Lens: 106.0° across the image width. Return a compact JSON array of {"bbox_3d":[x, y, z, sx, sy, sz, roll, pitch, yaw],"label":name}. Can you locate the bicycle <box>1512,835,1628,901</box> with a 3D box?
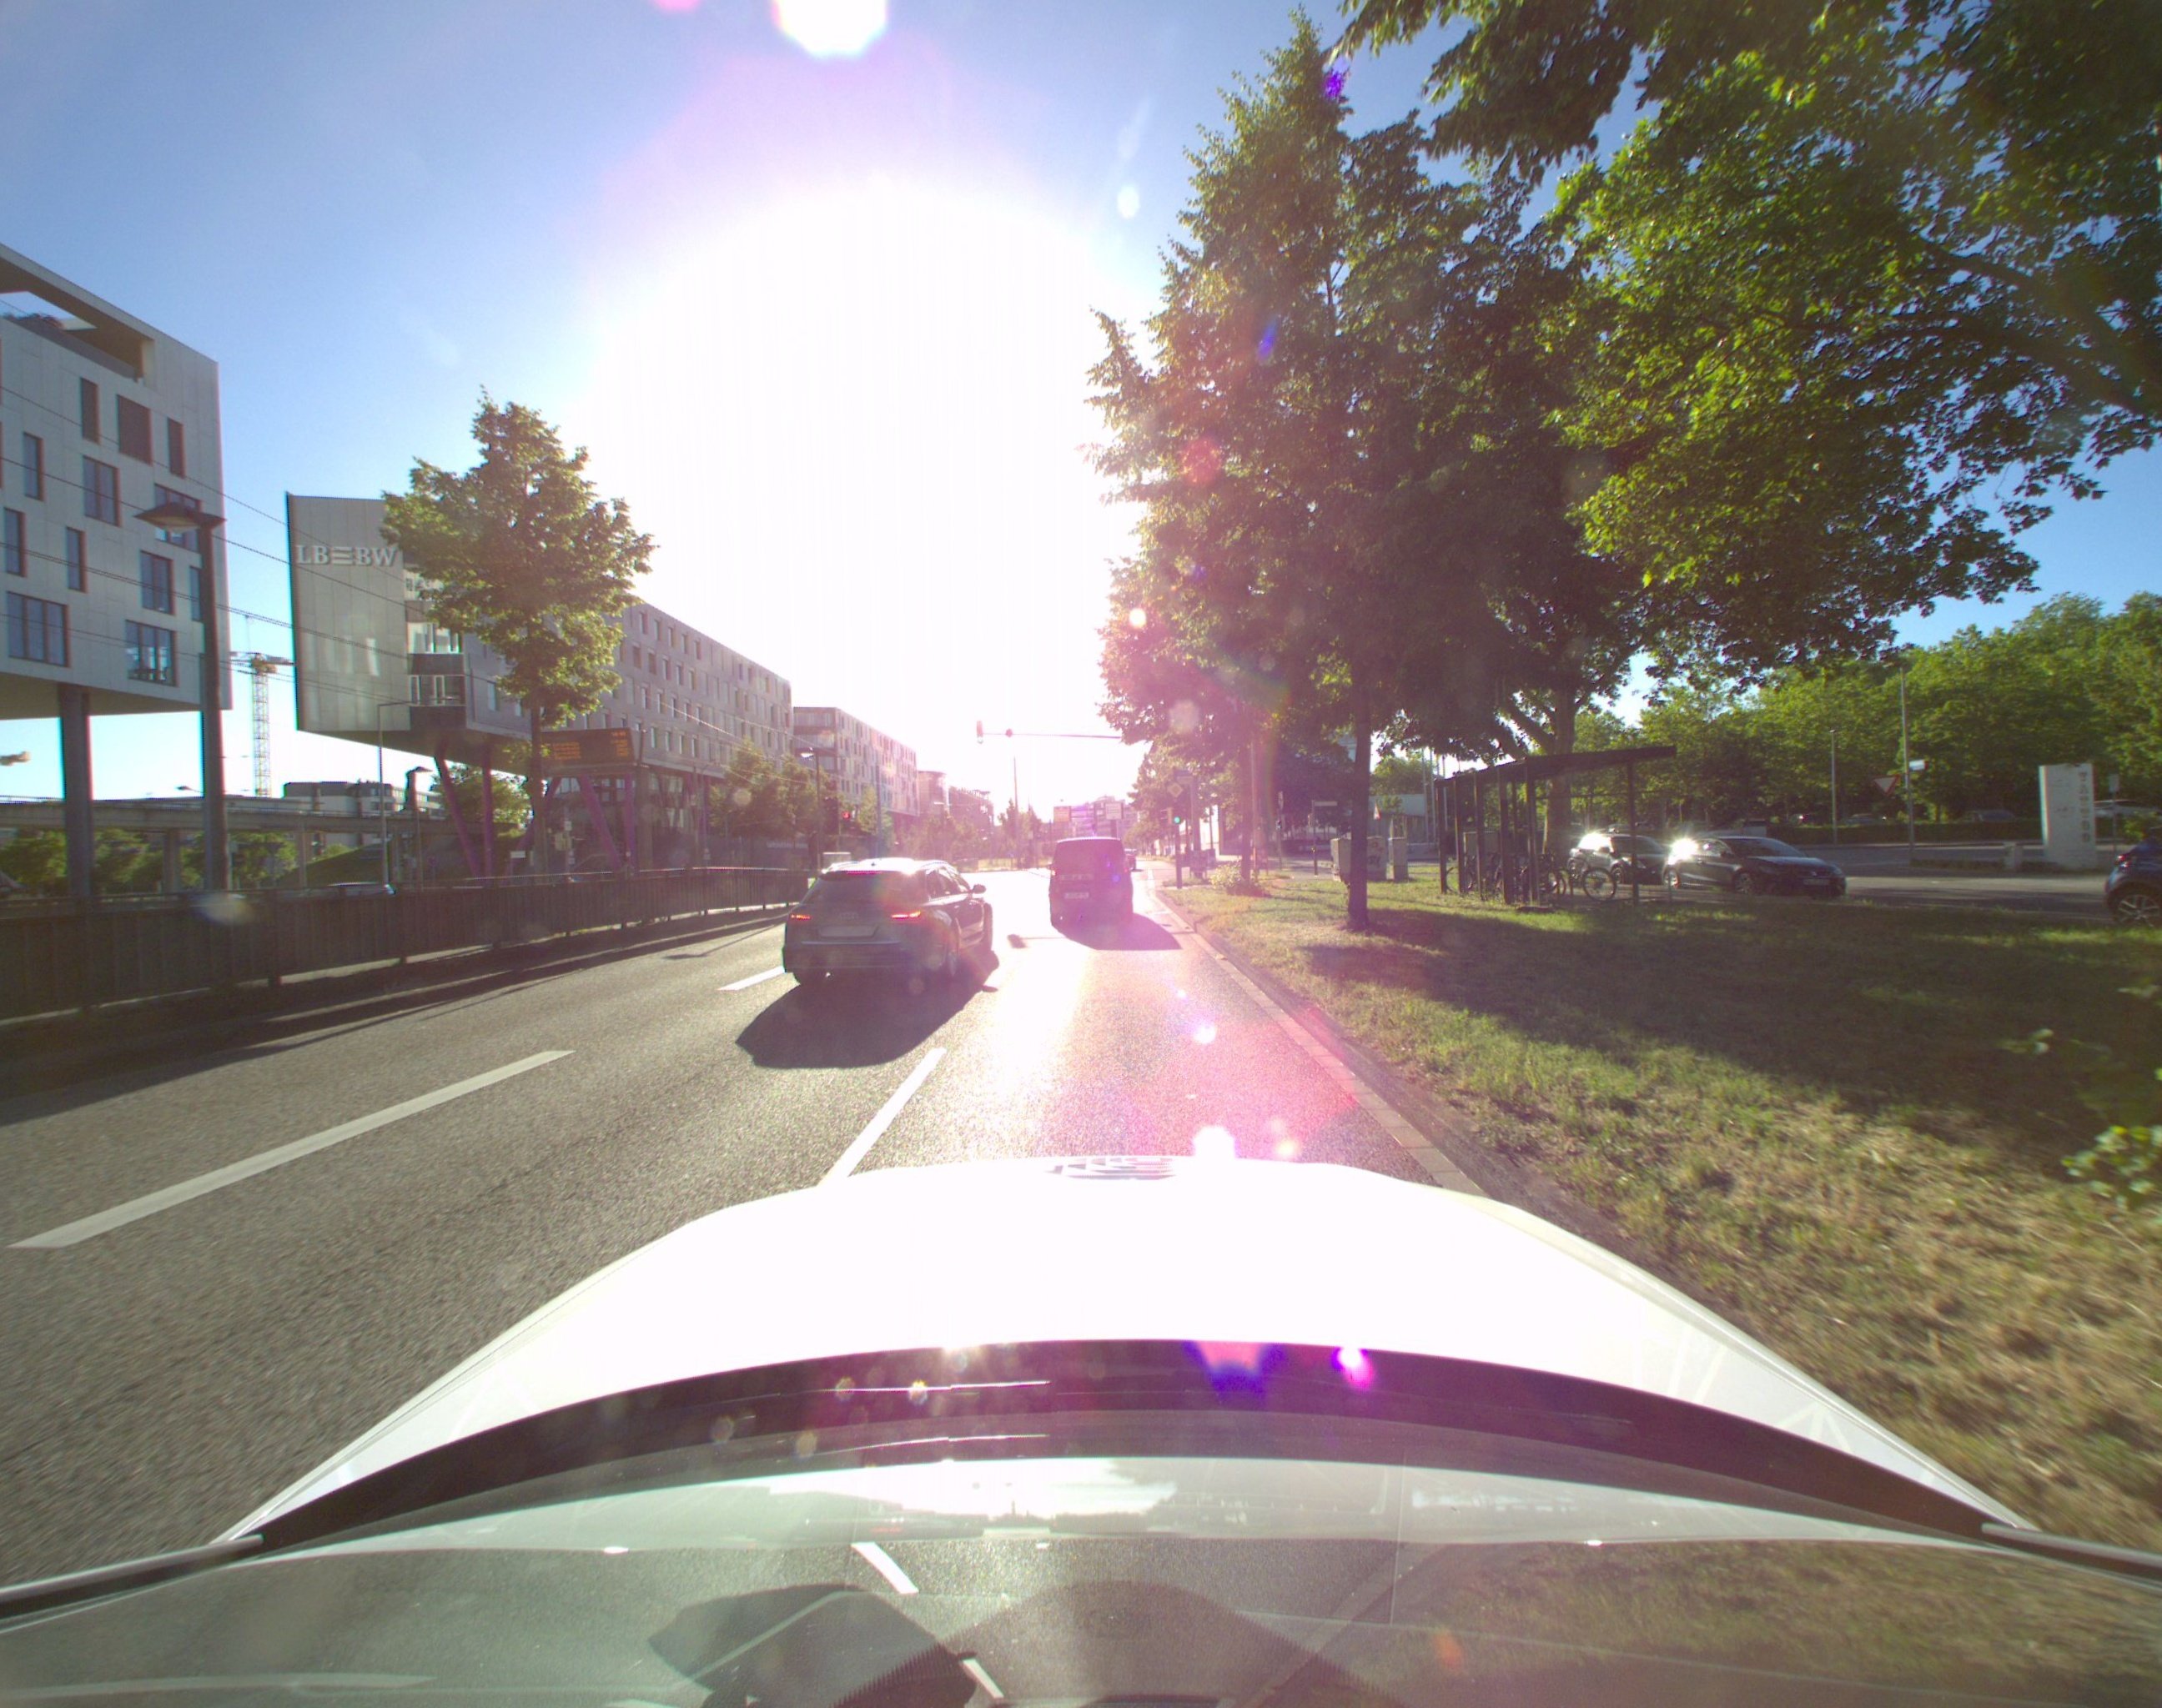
[{"bbox_3d":[9.179,0.263,15.326,1.794,1.169,0.552,-2,0,5],"label":"bicycle"}]

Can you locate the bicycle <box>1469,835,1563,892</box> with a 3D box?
[{"bbox_3d":[9.376,0.196,17.584,1.688,1.169,0.552,-2,0,4],"label":"bicycle"}]

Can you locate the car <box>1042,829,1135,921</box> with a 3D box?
[{"bbox_3d":[0.205,0.408,18.385,1.841,1.814,4.115,-1,0,1],"label":"car"}]

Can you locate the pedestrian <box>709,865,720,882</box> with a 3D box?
[{"bbox_3d":[-39.522,2.088,87.761,0.718,1.822,0.871,-3,0,2],"label":"pedestrian"}]

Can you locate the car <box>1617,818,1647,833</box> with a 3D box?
[{"bbox_3d":[55.105,-2.860,81.571,1.975,1.465,4.024,-1,1,27],"label":"car"}]

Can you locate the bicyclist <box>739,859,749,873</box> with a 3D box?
[{"bbox_3d":[-36.966,1.324,89.280,0.568,1.435,0.959,-3,0,3],"label":"bicyclist"}]

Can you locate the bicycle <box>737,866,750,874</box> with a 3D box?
[{"bbox_3d":[-36.953,1.739,89.236,0.573,0.862,1.693,-3,0,3],"label":"bicycle"}]

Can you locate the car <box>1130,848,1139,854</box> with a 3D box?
[{"bbox_3d":[14.302,-0.881,217.437,1.846,1.481,4.854,-4,0,1],"label":"car"}]

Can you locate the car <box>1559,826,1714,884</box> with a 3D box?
[{"bbox_3d":[15.654,0.020,23.222,1.885,1.465,4.042,-2,0,5],"label":"car"}]

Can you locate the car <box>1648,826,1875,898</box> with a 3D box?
[{"bbox_3d":[15.355,0.145,18.749,1.884,1.411,4.353,-2,0,5],"label":"car"}]

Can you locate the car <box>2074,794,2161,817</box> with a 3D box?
[{"bbox_3d":[73.349,-3.407,57.299,3.955,1.465,2.010,2,3,18],"label":"car"}]

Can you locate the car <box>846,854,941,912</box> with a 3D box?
[{"bbox_3d":[-5.137,0.745,22.814,1.665,1.426,4.006,-1,0,0],"label":"car"}]

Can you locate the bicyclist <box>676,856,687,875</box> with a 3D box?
[{"bbox_3d":[-37.720,1.054,76.838,0.527,1.726,0.838,-2,0,3],"label":"bicyclist"}]

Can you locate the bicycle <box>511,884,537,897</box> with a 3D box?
[{"bbox_3d":[-39.196,2.563,57.366,0.479,0.862,1.695,-2,0,6],"label":"bicycle"}]

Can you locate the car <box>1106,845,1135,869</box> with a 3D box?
[{"bbox_3d":[2.613,0.188,55.076,1.846,1.546,4.002,-1,0,2],"label":"car"}]

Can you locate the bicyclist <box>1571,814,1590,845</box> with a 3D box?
[{"bbox_3d":[28.941,-1.420,47.196,0.866,1.737,0.837,-3,1,28],"label":"bicyclist"}]

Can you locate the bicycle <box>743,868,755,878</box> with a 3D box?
[{"bbox_3d":[-39.967,2.282,98.175,0.518,1.172,1.976,-3,0,2],"label":"bicycle"}]

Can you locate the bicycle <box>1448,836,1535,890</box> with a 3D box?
[{"bbox_3d":[9.420,0.202,18.738,1.685,1.169,0.553,-2,0,10],"label":"bicycle"}]

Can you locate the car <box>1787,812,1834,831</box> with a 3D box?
[{"bbox_3d":[62.430,-2.749,69.783,1.975,1.465,4.024,-1,1,27],"label":"car"}]

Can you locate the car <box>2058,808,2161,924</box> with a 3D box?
[{"bbox_3d":[14.710,0.138,9.413,1.884,1.488,4.354,-2,0,6],"label":"car"}]

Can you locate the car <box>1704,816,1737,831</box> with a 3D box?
[{"bbox_3d":[68.116,-3.220,86.789,1.975,1.465,4.024,-1,1,27],"label":"car"}]

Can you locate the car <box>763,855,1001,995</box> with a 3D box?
[{"bbox_3d":[-2.329,0.751,10.905,1.805,1.427,4.693,-1,0,3],"label":"car"}]

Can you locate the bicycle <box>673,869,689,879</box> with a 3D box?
[{"bbox_3d":[-37.688,1.840,76.775,0.525,0.862,1.835,-3,0,3],"label":"bicycle"}]

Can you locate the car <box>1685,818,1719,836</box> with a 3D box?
[{"bbox_3d":[56.163,-2.431,73.735,1.974,1.465,4.026,-1,1,31],"label":"car"}]

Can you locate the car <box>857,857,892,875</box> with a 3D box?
[{"bbox_3d":[-19.712,1.147,77.847,1.987,1.562,4.872,-3,0,0],"label":"car"}]

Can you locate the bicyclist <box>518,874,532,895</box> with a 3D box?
[{"bbox_3d":[-39.202,2.165,57.430,0.479,1.423,0.554,-2,0,7],"label":"bicyclist"}]

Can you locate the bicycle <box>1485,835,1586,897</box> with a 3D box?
[{"bbox_3d":[9.122,0.235,16.379,1.689,1.169,0.552,-2,0,3],"label":"bicycle"}]

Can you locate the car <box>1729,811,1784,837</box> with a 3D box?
[{"bbox_3d":[41.986,-1.868,50.698,1.974,1.465,4.026,-1,1,31],"label":"car"}]

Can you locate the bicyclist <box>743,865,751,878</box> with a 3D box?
[{"bbox_3d":[-40.279,2.138,98.183,0.556,1.496,0.763,-3,0,1],"label":"bicyclist"}]

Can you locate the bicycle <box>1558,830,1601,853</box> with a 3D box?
[{"bbox_3d":[28.880,-0.716,47.226,2.077,1.203,0.554,-2,1,28],"label":"bicycle"}]
